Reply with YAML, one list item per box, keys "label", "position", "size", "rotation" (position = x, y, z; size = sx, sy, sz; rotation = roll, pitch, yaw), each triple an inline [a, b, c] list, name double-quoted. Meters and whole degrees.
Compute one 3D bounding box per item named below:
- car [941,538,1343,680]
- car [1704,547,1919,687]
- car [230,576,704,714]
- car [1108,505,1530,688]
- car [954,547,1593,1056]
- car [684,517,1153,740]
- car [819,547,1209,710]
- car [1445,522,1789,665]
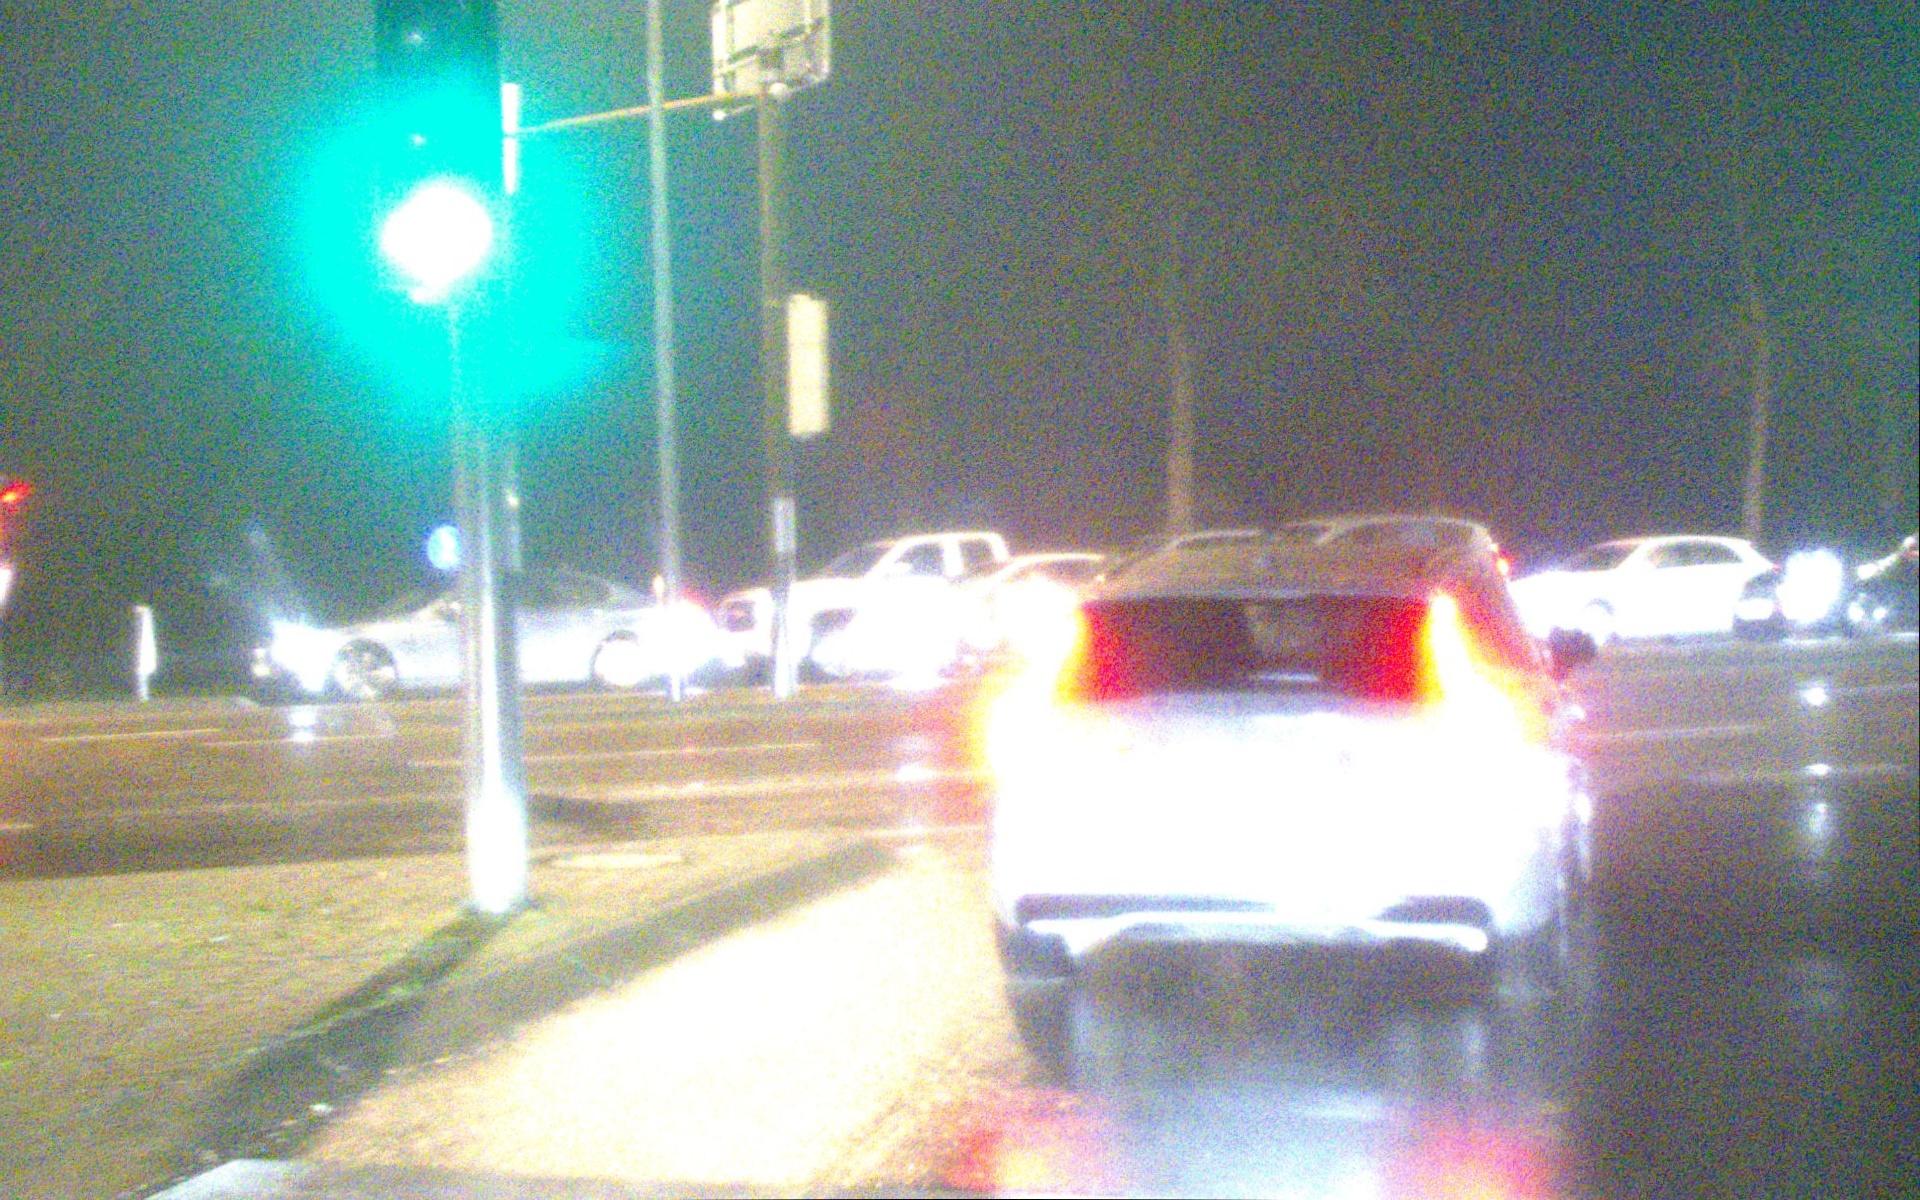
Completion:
- label: "car"
  position: [1.993, 0.100, 37.518]
  size: [4.044, 1.482, 1.718]
  rotation: [0, 0, -25]
- label: "car"
  position: [11.371, 0.207, 42.684]
  size: [3.963, 1.660, 1.804]
  rotation: [0, 0, -29]
- label: "car"
  position: [-5.335, 0.468, 37.365]
  size: [4.787, 1.422, 1.765]
  rotation: [0, 0, -28]
- label: "car"
  position: [3.644, -0.065, 34.835]
  size: [3.888, 1.719, 1.766]
  rotation: [-2, 1, -27]
- label: "car"
  position: [1.291, 0.551, 12.205]
  size: [1.797, 1.447, 4.267]
  rotation: [0, 1, 12]
- label: "car"
  position: [-0.511, 0.353, 44.002]
  size: [5.590, 2.701, 2.256]
  rotation: [0, 0, -28]
- label: "car"
  position: [0.650, 0.327, 40.494]
  size: [4.270, 1.842, 1.765]
  rotation: [0, 0, -29]
- label: "car"
  position: [8.611, -0.078, 44.996]
  size: [4.236, 1.793, 1.804]
  rotation: [0, 0, -29]
